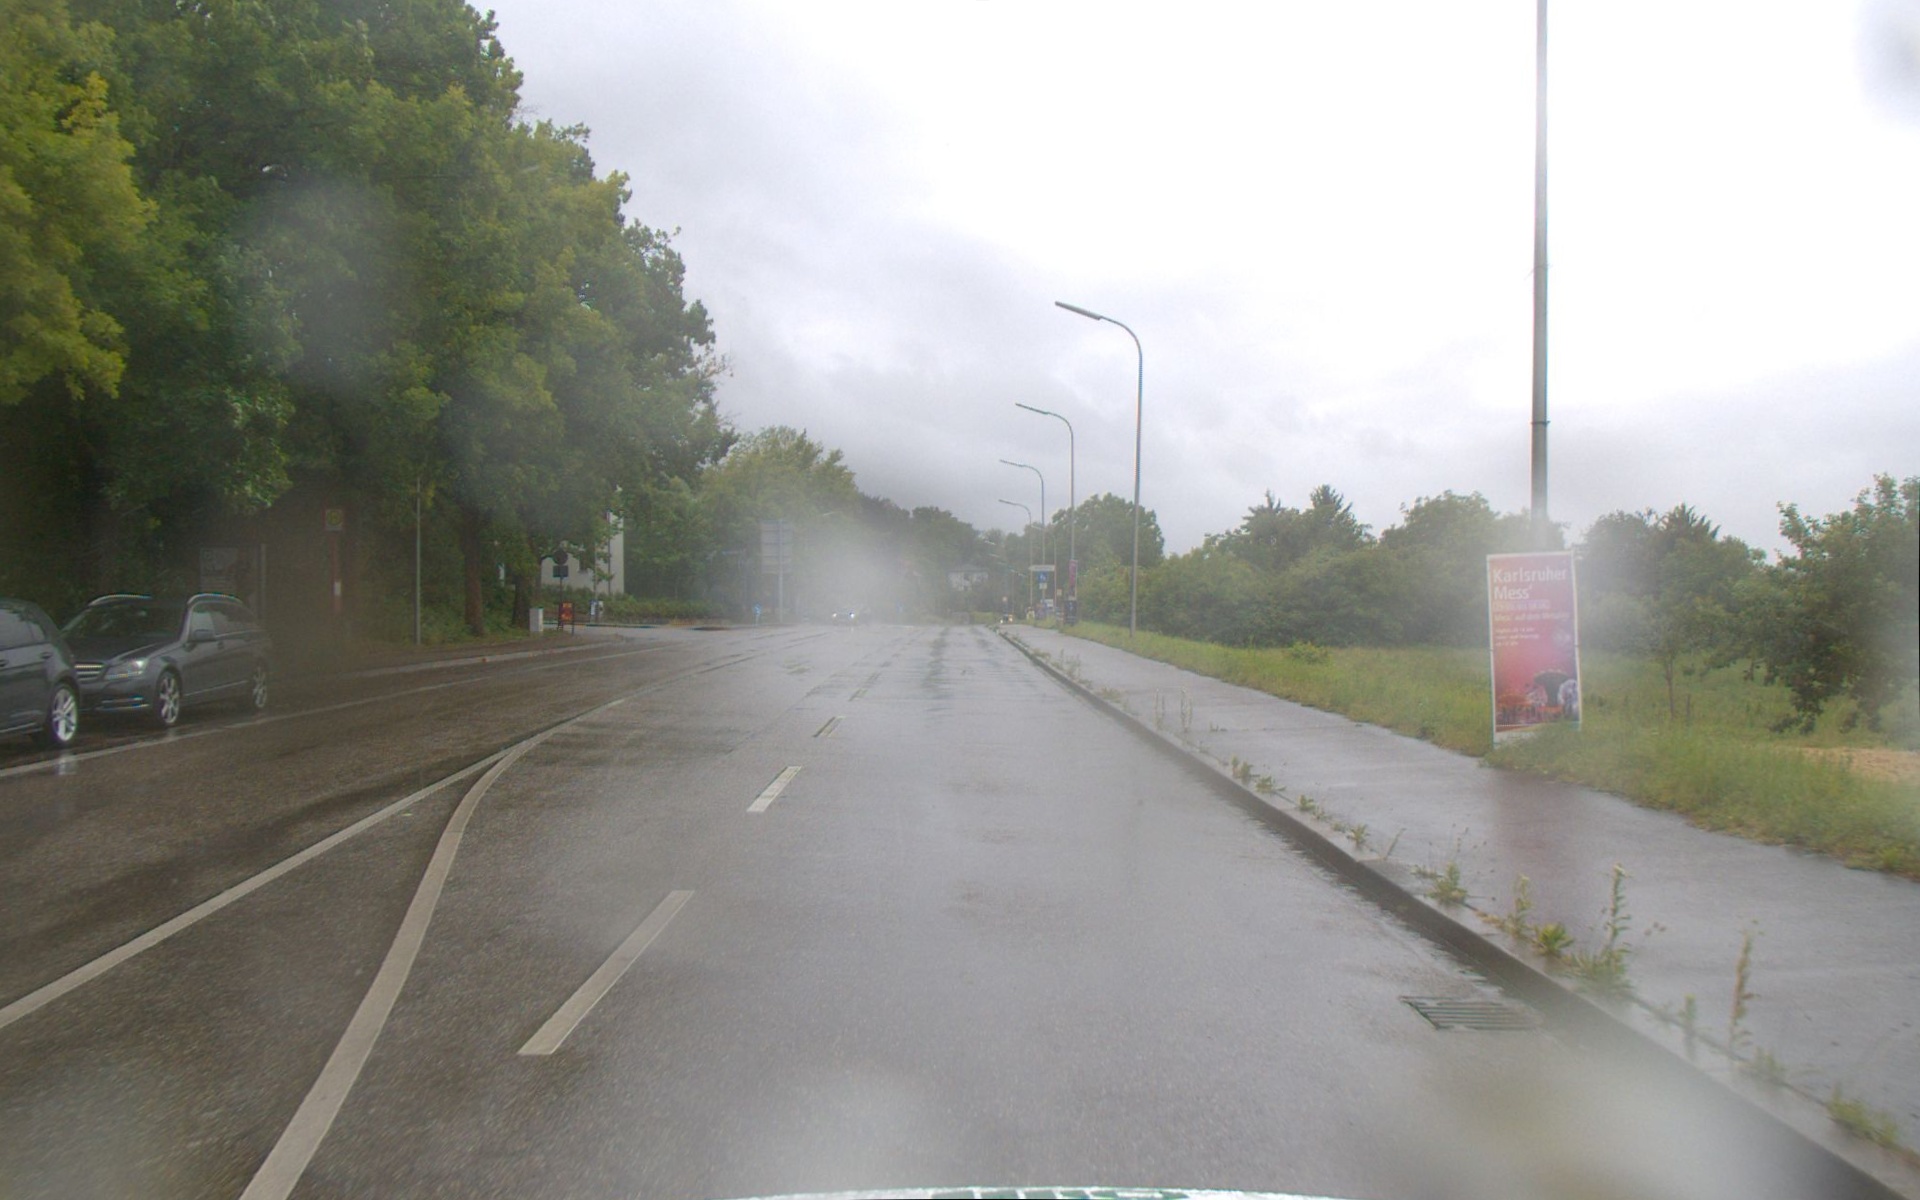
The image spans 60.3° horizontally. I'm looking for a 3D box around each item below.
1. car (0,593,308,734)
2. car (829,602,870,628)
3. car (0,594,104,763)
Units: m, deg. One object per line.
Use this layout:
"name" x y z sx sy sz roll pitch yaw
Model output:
"car" -9.361 0.659 19.578 1.653 1.444 4.738 -1 0 -4
"car" -7.897 1.068 118.944 1.756 1.793 4.003 1 0 14
"car" -8.926 0.679 14.198 1.406 1.444 4.098 -1 0 -6
